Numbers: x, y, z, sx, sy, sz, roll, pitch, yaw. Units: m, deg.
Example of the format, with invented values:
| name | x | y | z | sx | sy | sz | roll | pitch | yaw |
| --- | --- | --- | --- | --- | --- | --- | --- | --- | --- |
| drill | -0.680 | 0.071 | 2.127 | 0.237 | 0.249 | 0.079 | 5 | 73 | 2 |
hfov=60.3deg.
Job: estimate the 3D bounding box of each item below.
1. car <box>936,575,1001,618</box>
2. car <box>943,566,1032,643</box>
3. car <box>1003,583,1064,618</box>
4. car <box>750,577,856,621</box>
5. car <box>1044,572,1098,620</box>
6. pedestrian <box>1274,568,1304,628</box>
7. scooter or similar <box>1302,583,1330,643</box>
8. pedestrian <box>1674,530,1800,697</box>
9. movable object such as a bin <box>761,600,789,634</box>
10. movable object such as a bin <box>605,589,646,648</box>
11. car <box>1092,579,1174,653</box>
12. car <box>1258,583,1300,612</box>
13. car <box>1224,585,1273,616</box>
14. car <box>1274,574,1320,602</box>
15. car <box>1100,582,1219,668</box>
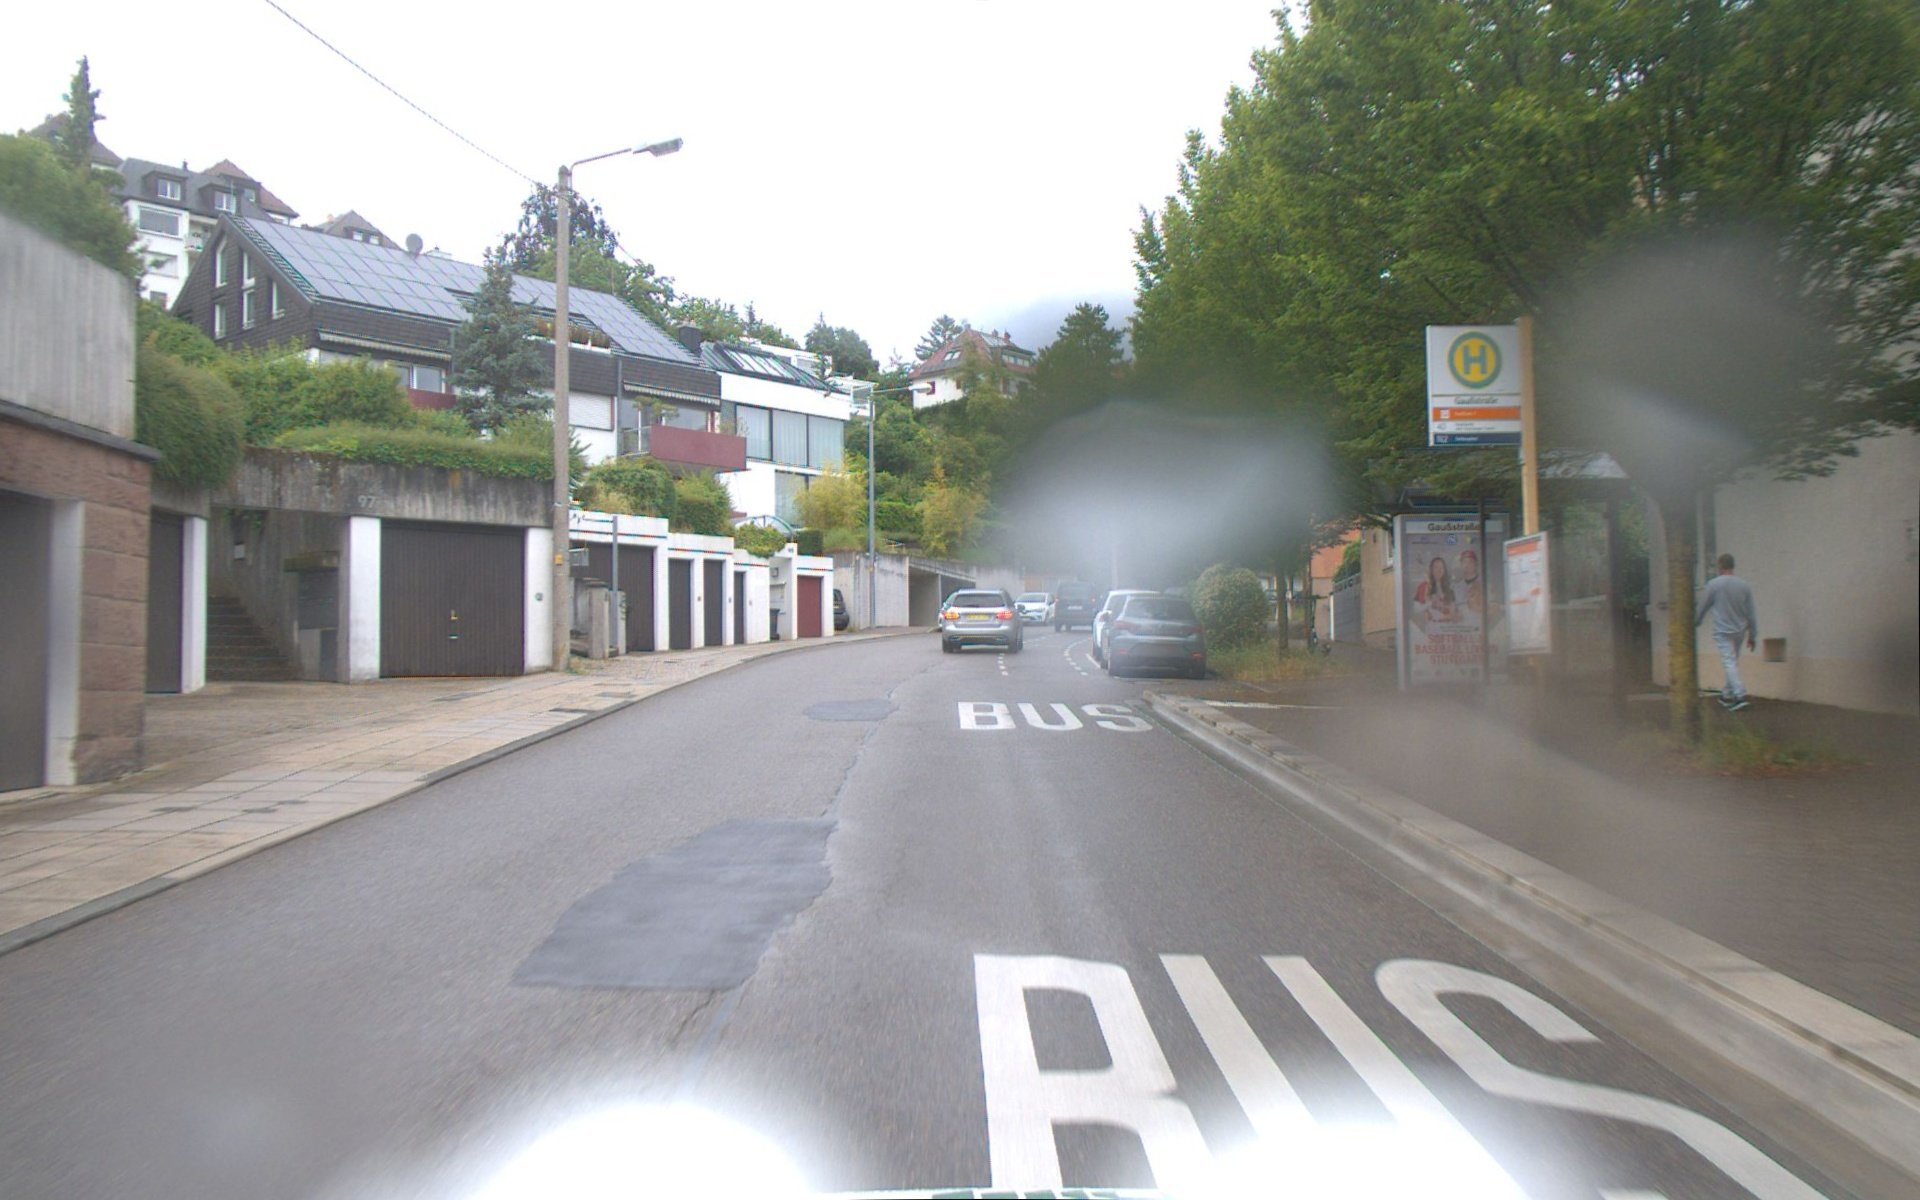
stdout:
| name | x | y | z | sx | sy | sz | roll | pitch | yaw |
| --- | --- | --- | --- | --- | --- | --- | --- | --- | --- |
| car | 0.366 | -0.153 | 62.392 | 1.592 | 1.542 | 3.836 | -1 | 1 | 14 |
| car | 0.610 | 0.084 | 39.175 | 1.984 | 1.738 | 4.215 | 0 | 0 | 0 |
| car | 3.304 | 0.009 | 73.700 | 1.793 | 1.465 | 4.042 | -1 | 0 | 17 |
| car | -5.776 | -0.047 | 60.684 | 3.861 | 1.504 | 1.757 | 2 | 2 | 42 |
| car | 4.176 | -0.166 | 62.071 | 1.951 | 1.738 | 4.002 | 0 | 0 | 4 |
| pedestrian | 9.795 | -0.058 | 49.314 | 0.744 | 1.750 | 0.903 | -3 | 0 | 8 |
| scooter or similar | 7.705 | 0.279 | 35.811 | 0.404 | 1.267 | 1.176 | -1 | 0 | 3 |
| pedestrian | 8.445 | 0.137 | 18.021 | 0.815 | 1.715 | 1.045 | -3 | 1 | 1 |
| movable object such as a bin | -5.471 | 0.498 | 49.046 | 0.534 | 0.980 | 0.643 | 1 | 1 | 39 |
| movable object such as a bin | -6.761 | 0.374 | 33.419 | 0.520 | 1.166 | 0.597 | 1 | -1 | 44 |
| car | 3.779 | 0.312 | 36.657 | 1.622 | 1.515 | 4.002 | 1 | 1 | 4 |
| car | 17.478 | -0.153 | 90.616 | 1.594 | 1.590 | 3.020 | 0 | 1 | 25 |
| car | 14.734 | 0.016 | 84.349 | 1.635 | 1.496 | 3.709 | 1 | 1 | 23 |
| car | 19.182 | -0.679 | 93.927 | 1.622 | 1.546 | 3.997 | 1 | 1 | 26 |
| car | 3.592 | 0.407 | 30.471 | 1.839 | 1.441 | 4.469 | 0 | 1 | 2 |
